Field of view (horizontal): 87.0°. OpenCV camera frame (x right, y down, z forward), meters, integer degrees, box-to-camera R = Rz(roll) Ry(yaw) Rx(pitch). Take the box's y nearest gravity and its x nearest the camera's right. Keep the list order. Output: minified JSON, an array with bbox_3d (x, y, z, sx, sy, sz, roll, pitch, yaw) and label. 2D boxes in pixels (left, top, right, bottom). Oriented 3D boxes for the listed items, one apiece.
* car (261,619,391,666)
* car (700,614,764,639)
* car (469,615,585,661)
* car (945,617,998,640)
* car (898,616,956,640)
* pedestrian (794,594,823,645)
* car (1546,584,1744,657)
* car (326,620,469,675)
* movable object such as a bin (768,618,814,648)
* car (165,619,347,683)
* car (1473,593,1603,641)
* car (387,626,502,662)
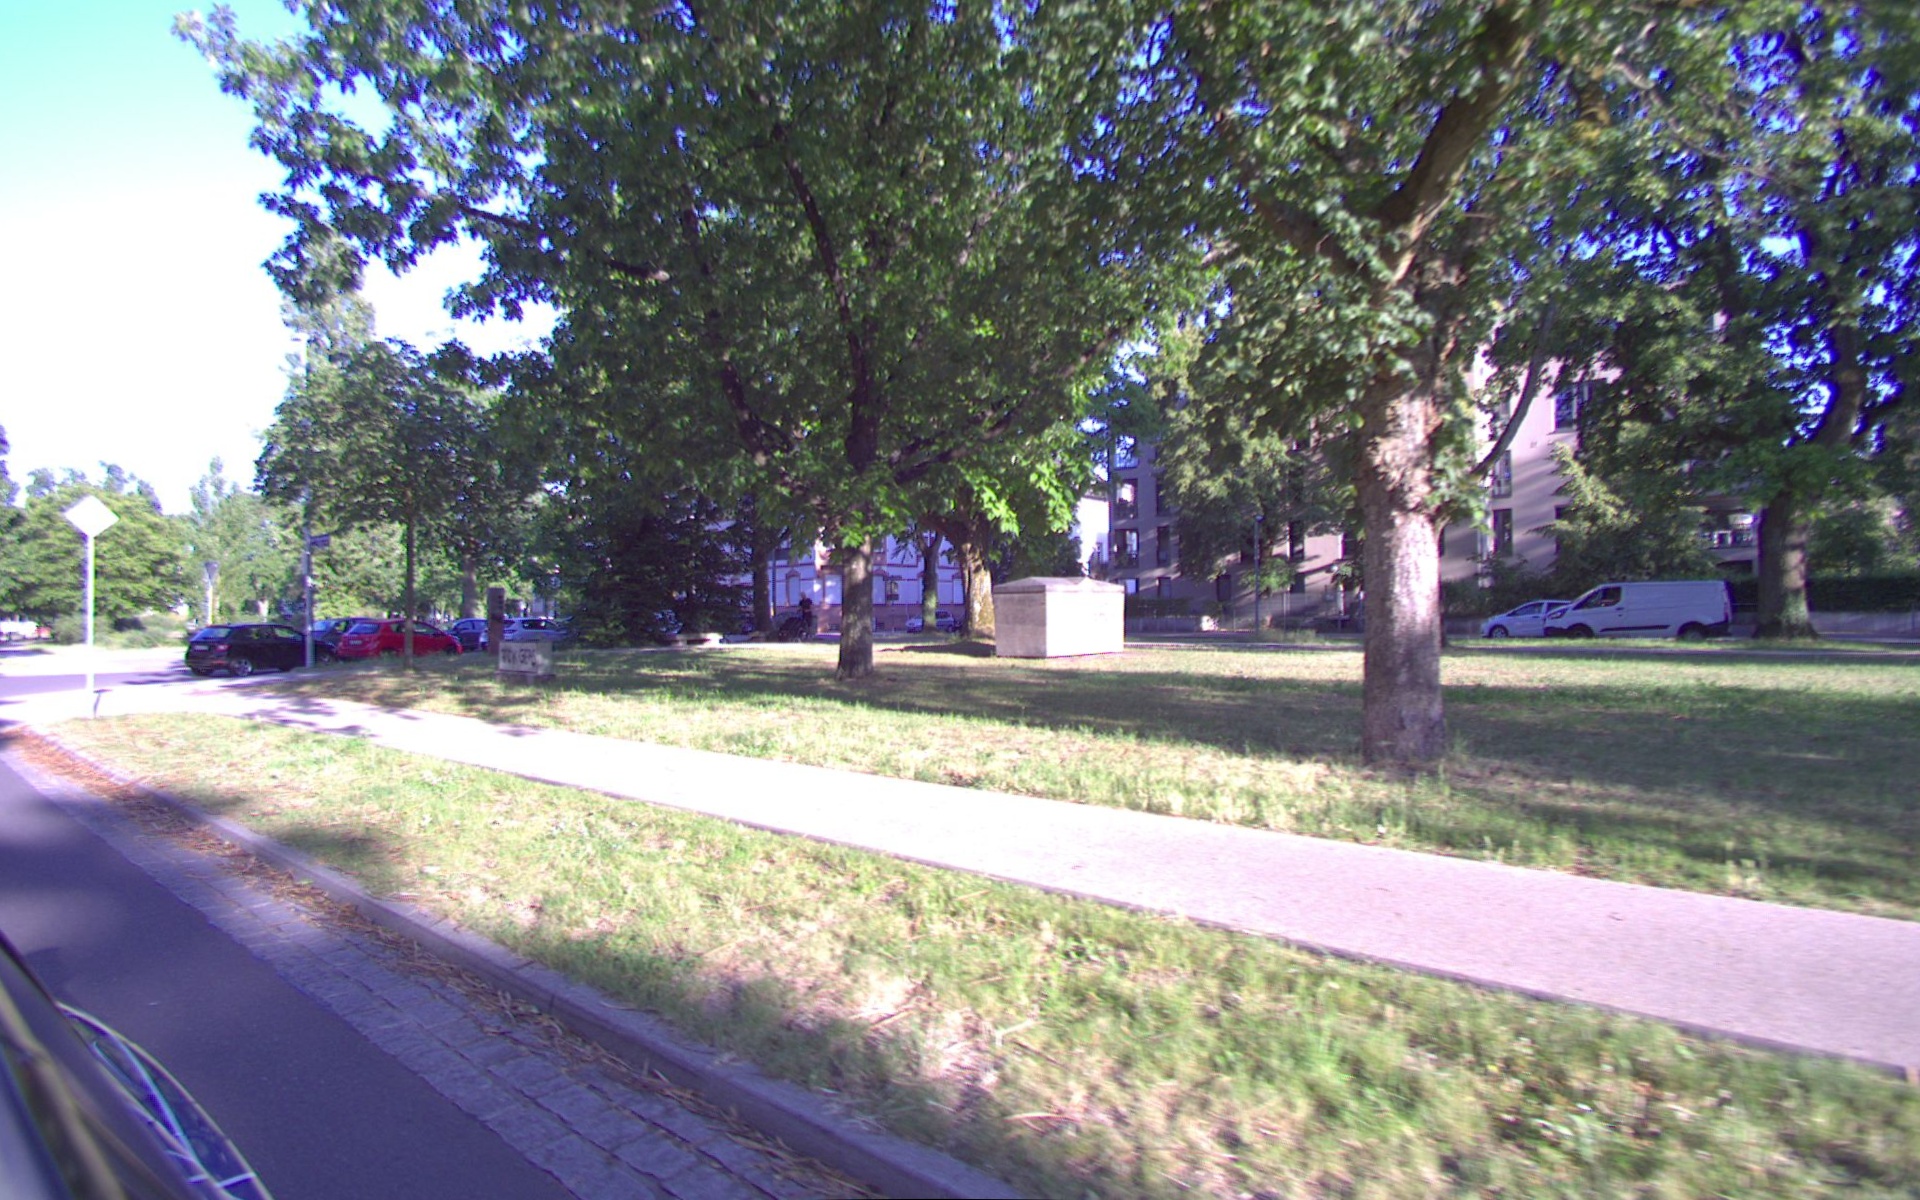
[{"bbox_3d":[-23.245,1.515,37.288,1.824,1.643,3.825,-1,-1,17],"label":"car"},{"bbox_3d":[-15.653,1.820,69.727,3.947,1.586,1.889,0,0,3],"label":"car"},{"bbox_3d":[-16.403,1.389,38.555,1.877,1.586,3.973,0,0,20],"label":"car"},{"bbox_3d":[0.886,2.090,75.375,1.890,1.586,3.946,0,0,41],"label":"car"},{"bbox_3d":[-2.285,1.945,71.274,1.890,1.586,3.945,0,0,41],"label":"car"},{"bbox_3d":[-5.166,0.668,34.543,0.669,1.708,0.658,-2,-1,26],"label":"pedestrian"},{"bbox_3d":[21.358,0.653,31.908,4.950,2.130,2.650,-2,-1,31],"label":"car"},{"bbox_3d":[-18.439,1.500,33.369,1.874,1.586,3.979,0,0,16],"label":"car"},{"bbox_3d":[-5.604,1.086,33.642,0.944,0.997,1.322,-1,-1,25],"label":"movable object such as a bin"},{"bbox_3d":[-19.940,1.391,28.862,1.874,1.586,3.979,0,0,16],"label":"car"},{"bbox_3d":[20.865,0.636,36.579,3.736,1.630,1.973,-2,-1,41],"label":"car"},{"bbox_3d":[-21.502,1.805,42.394,1.825,1.411,4.250,-1,-1,19],"label":"car"}]
